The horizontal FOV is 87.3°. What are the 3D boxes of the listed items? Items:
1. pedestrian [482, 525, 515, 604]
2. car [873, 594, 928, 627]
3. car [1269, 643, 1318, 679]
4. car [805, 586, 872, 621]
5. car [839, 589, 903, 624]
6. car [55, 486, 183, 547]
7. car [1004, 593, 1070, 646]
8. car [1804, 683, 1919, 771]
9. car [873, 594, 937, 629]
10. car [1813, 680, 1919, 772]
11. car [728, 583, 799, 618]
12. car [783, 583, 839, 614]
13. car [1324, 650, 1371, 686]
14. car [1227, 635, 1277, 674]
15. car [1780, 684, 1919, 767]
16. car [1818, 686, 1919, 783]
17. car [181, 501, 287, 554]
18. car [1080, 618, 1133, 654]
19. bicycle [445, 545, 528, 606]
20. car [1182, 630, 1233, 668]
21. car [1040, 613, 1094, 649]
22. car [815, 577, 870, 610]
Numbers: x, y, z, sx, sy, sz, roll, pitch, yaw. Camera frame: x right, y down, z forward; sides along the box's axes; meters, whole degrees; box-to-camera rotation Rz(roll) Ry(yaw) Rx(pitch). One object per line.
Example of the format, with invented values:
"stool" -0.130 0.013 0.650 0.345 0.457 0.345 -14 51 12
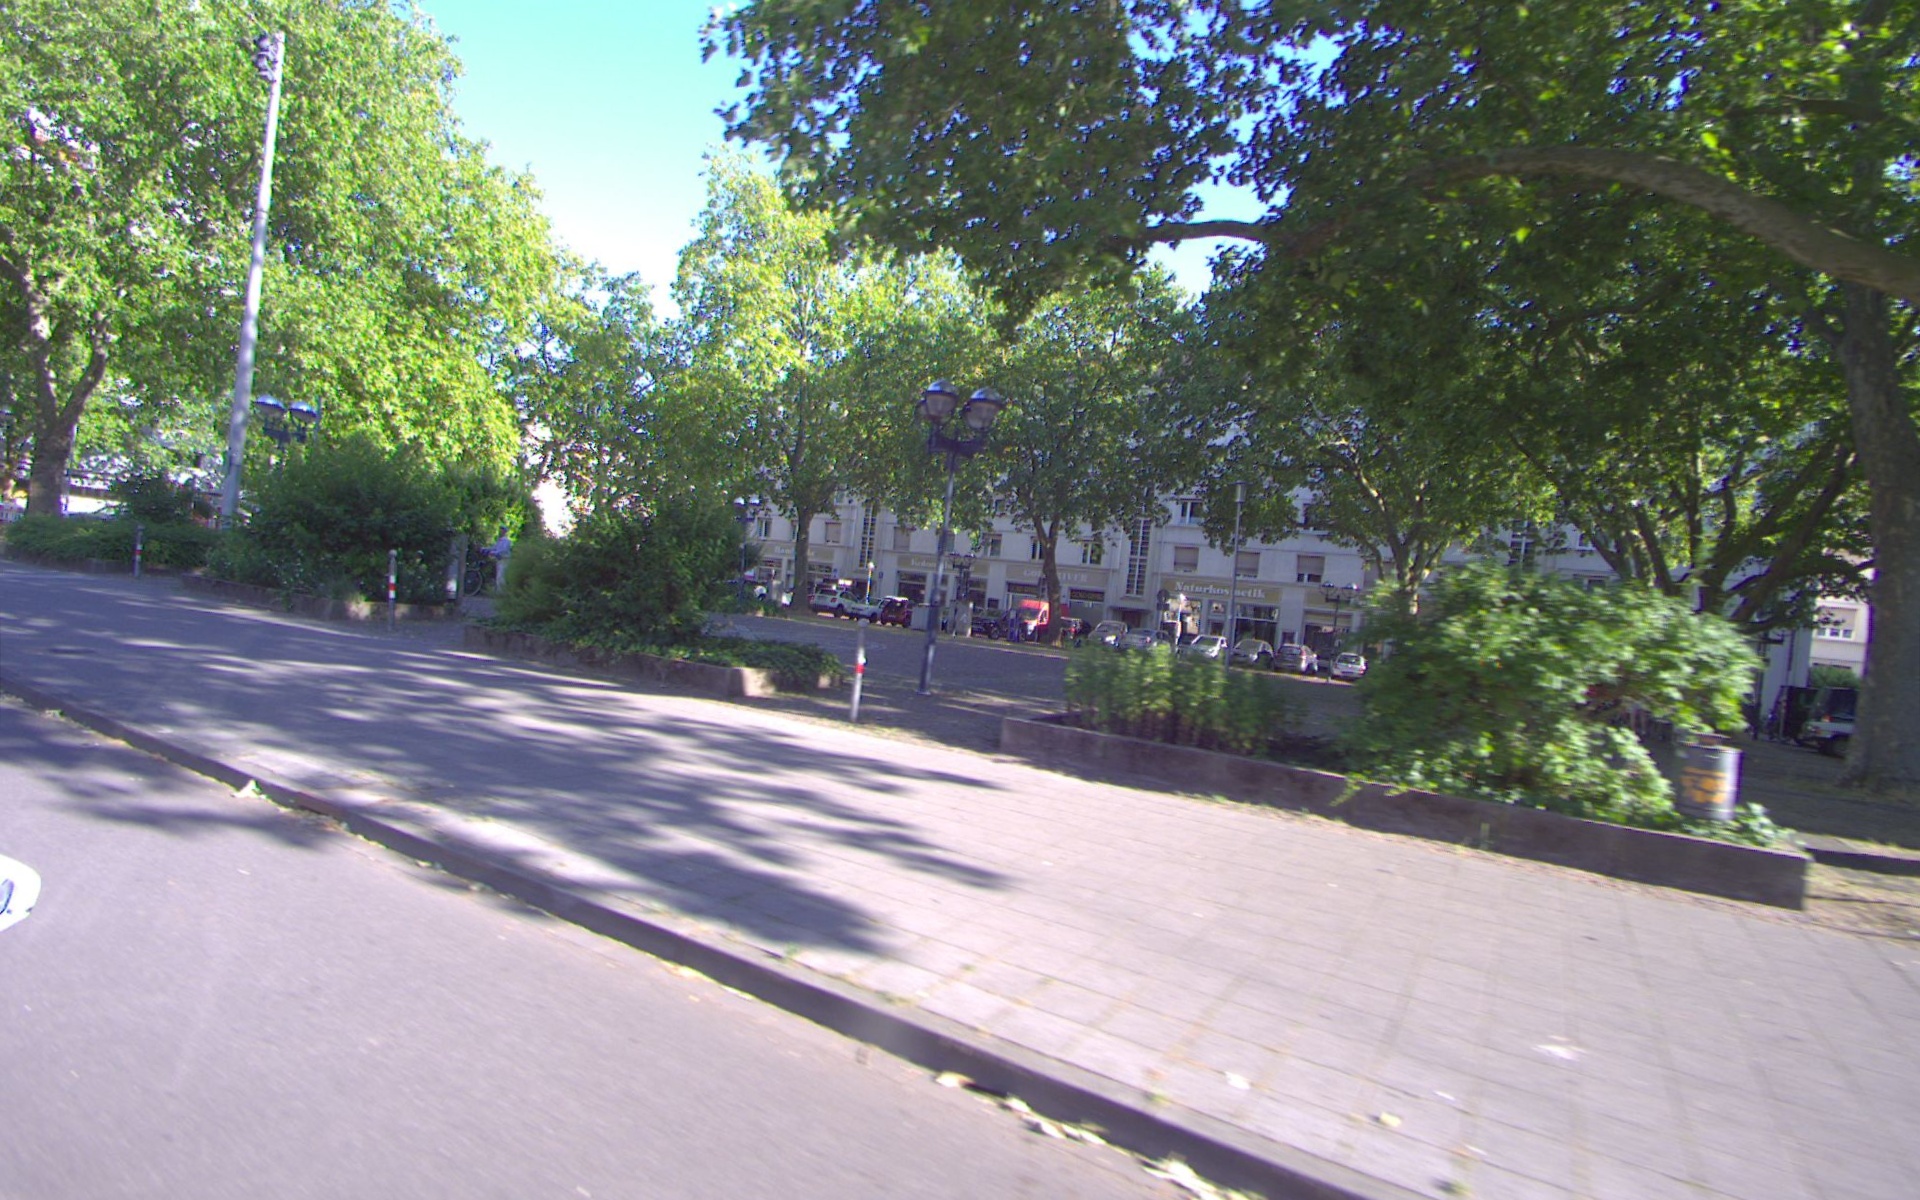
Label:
"pedestrian" -11.364 -0.859 24.769 0.333 1.887 0.393 7 -1 10
"car" -3.958 0.731 67.655 1.787 1.678 4.000 7 -2 27
"car" 18.024 3.313 54.230 1.787 1.552 4.000 7 -2 27
"car" -6.917 0.208 57.667 1.829 1.638 4.293 6 0 22
"car" -4.977 0.406 56.813 1.830 1.638 3.997 6 0 23
"car" -39.057 -3.825 46.857 1.962 2.036 4.006 7 -2 13
"car" 4.887 1.281 62.970 2.023 2.656 5.081 7 -2 28
"car" 26.881 3.708 28.042 4.671 2.039 1.995 8 1 31
"car" -2.994 0.663 55.491 1.830 1.638 3.997 6 0 23
"car" 25.403 3.464 25.971 4.671 2.039 1.995 8 1 31
"car" -11.661 0.040 59.830 1.966 1.705 3.894 7 0 30
"car" -10.559 -0.078 71.519 1.787 1.678 4.000 7 -2 27
"car" 20.522 3.621 53.200 1.787 1.552 4.000 7 -2 27
"car" 16.111 3.029 55.344 1.787 1.678 4.000 7 -2 27
"car" 29.630 4.100 32.272 4.671 2.039 1.995 8 1 31
"car" 23.355 3.347 23.865 3.925 2.039 2.000 6 1 19
"car" -37.939 -3.765 52.708 1.962 2.036 4.006 7 -2 13
"car" 8.686 2.163 59.518 1.787 1.678 4.000 7 -2 27
"bicycle" -11.718 -0.581 24.978 0.446 1.254 2.330 7 -2 10
"car" 13.952 2.774 56.479 1.787 1.678 4.000 7 -2 27
"car" 6.513 1.912 60.800 1.787 1.678 4.000 7 -2 27
"car" -8.209 -0.445 70.529 1.787 1.678 4.000 7 -2 27
